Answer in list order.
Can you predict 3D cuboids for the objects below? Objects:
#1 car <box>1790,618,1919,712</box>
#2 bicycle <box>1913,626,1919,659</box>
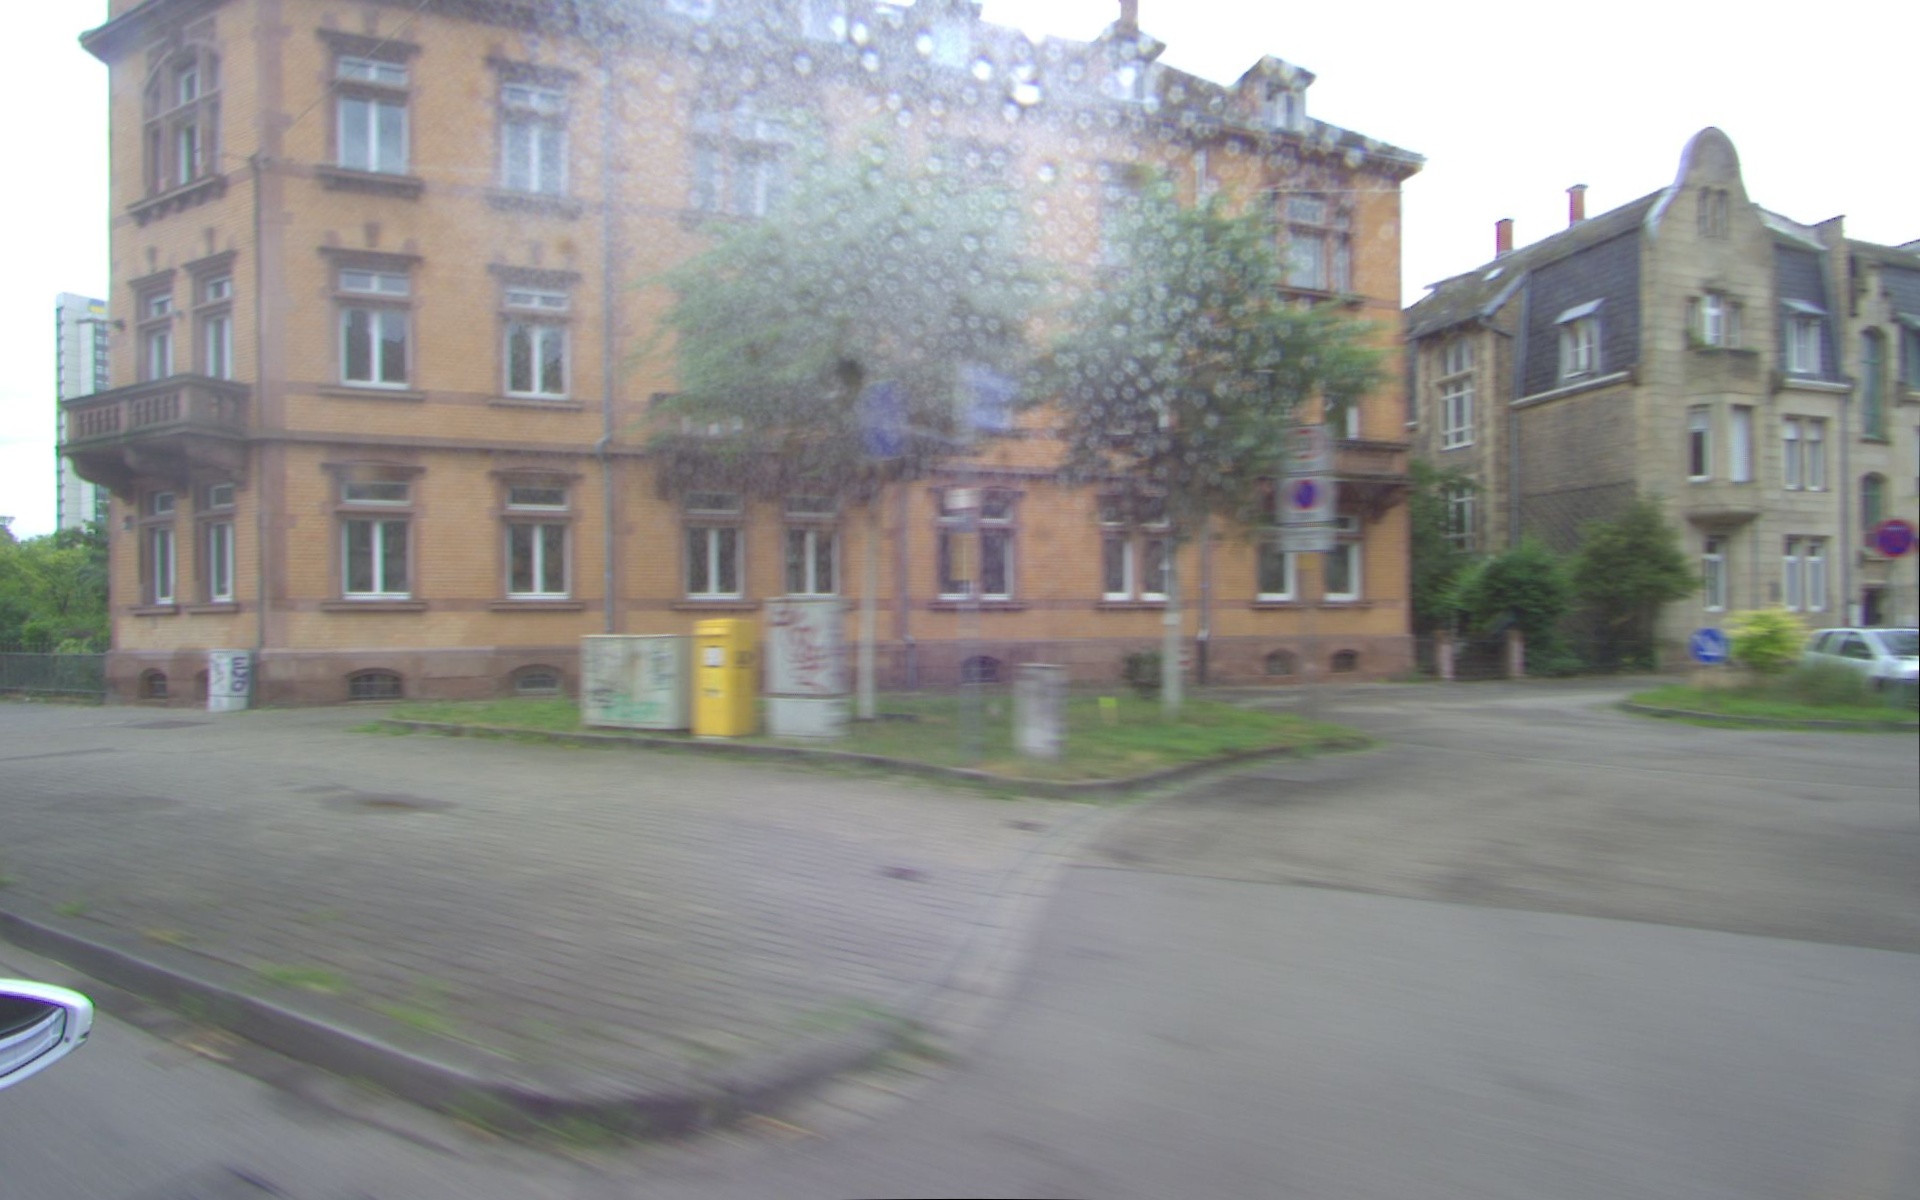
[{"bbox_3d":[16.745,1.091,17.818,1.676,1.452,3.538,-1,0,14],"label":"car"},{"bbox_3d":[30.421,1.310,30.939,1.746,1.016,0.568,0,-1,-14],"label":"bicycle"}]
